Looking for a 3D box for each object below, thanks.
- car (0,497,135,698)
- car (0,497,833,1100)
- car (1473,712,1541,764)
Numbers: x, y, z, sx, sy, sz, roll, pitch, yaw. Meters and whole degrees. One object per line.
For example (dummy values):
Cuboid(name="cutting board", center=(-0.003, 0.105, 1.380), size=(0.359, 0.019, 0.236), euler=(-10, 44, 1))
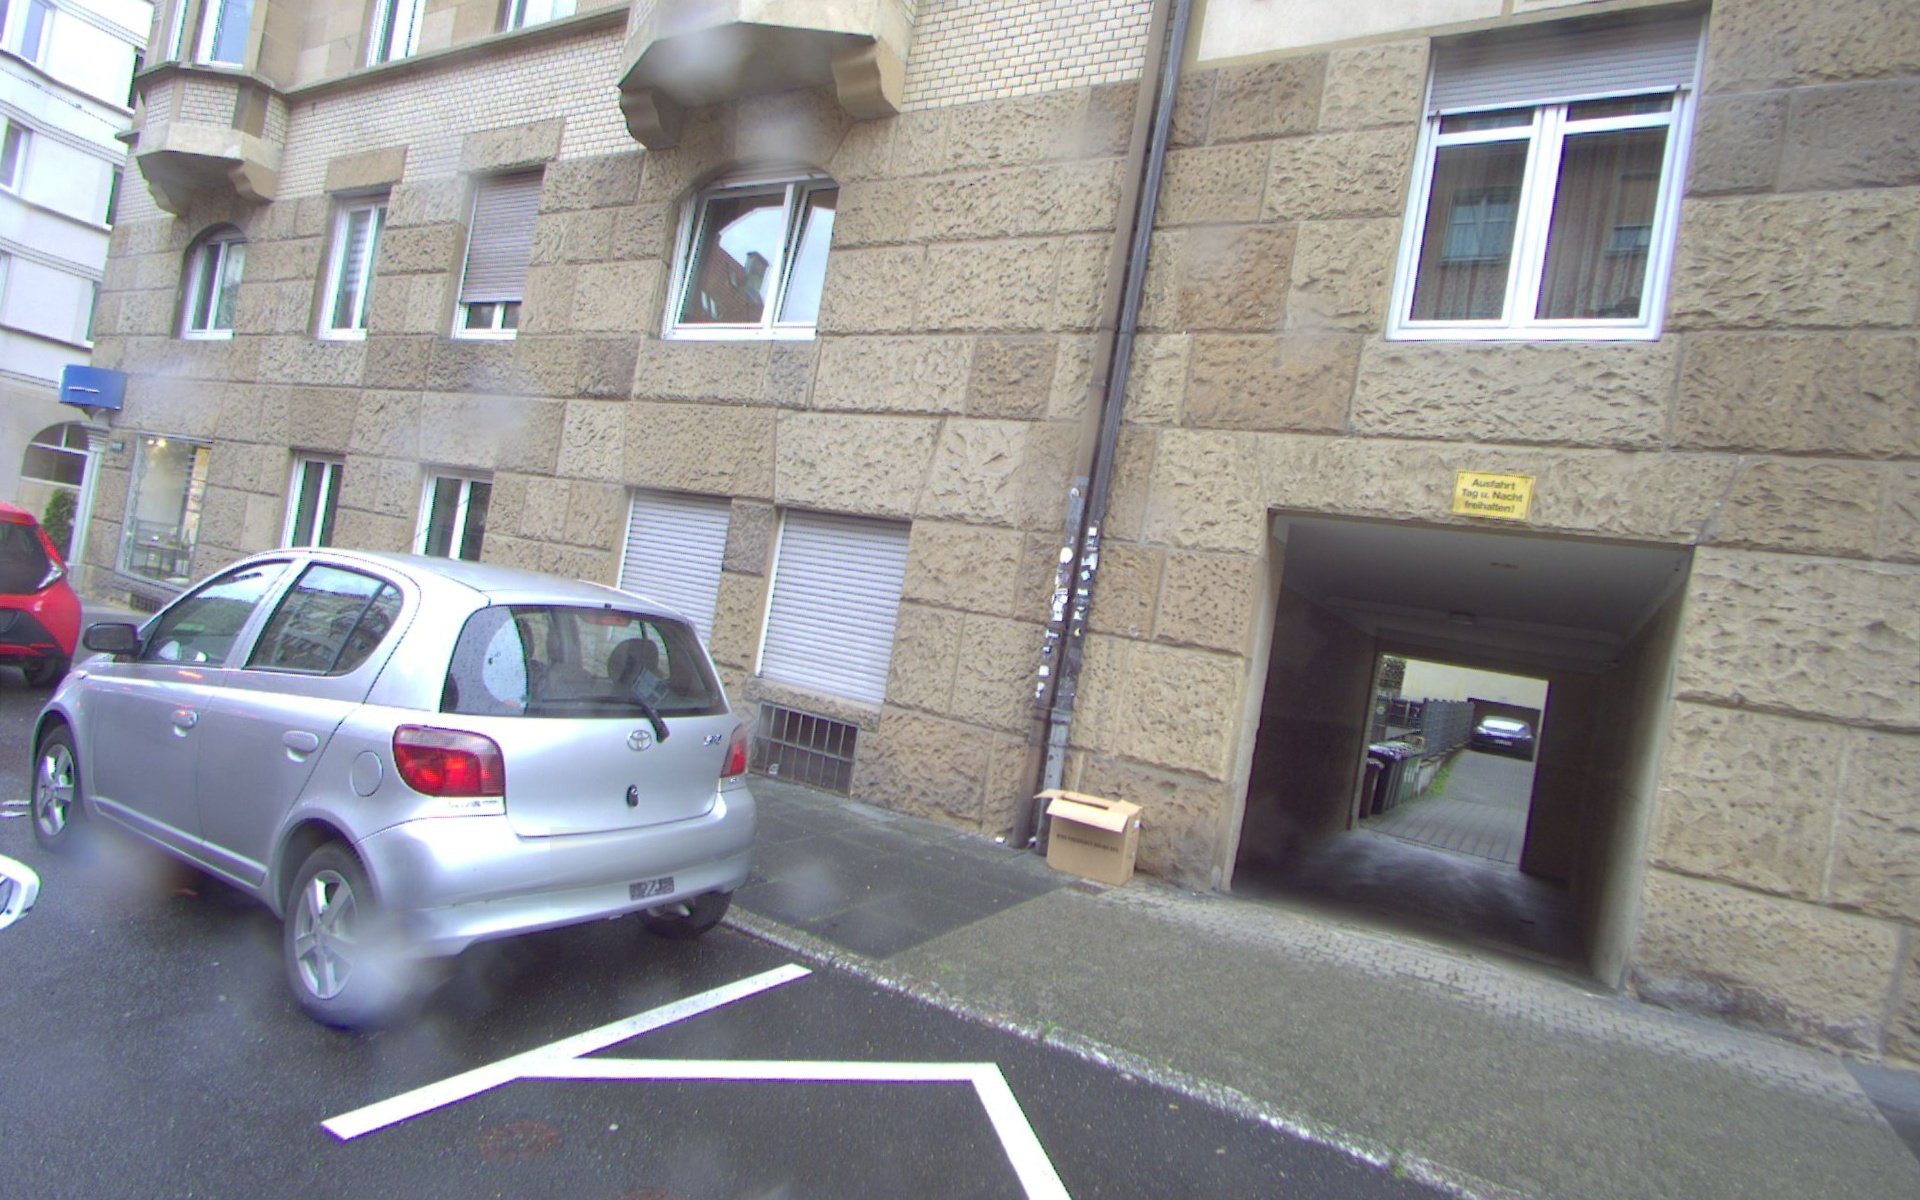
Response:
Cuboid(name="car", center=(-8.692, -0.217, 8.236), size=(3.472, 1.469, 1.711), euler=(7, -3, 29))
Cuboid(name="car", center=(-2.482, 0.524, 4.357), size=(3.464, 1.504, 1.597), euler=(7, -1, 32))
Cuboid(name="car", center=(18.385, 4.581, 33.875), size=(1.764, 1.362, 4.015), euler=(6, -2, 28))
